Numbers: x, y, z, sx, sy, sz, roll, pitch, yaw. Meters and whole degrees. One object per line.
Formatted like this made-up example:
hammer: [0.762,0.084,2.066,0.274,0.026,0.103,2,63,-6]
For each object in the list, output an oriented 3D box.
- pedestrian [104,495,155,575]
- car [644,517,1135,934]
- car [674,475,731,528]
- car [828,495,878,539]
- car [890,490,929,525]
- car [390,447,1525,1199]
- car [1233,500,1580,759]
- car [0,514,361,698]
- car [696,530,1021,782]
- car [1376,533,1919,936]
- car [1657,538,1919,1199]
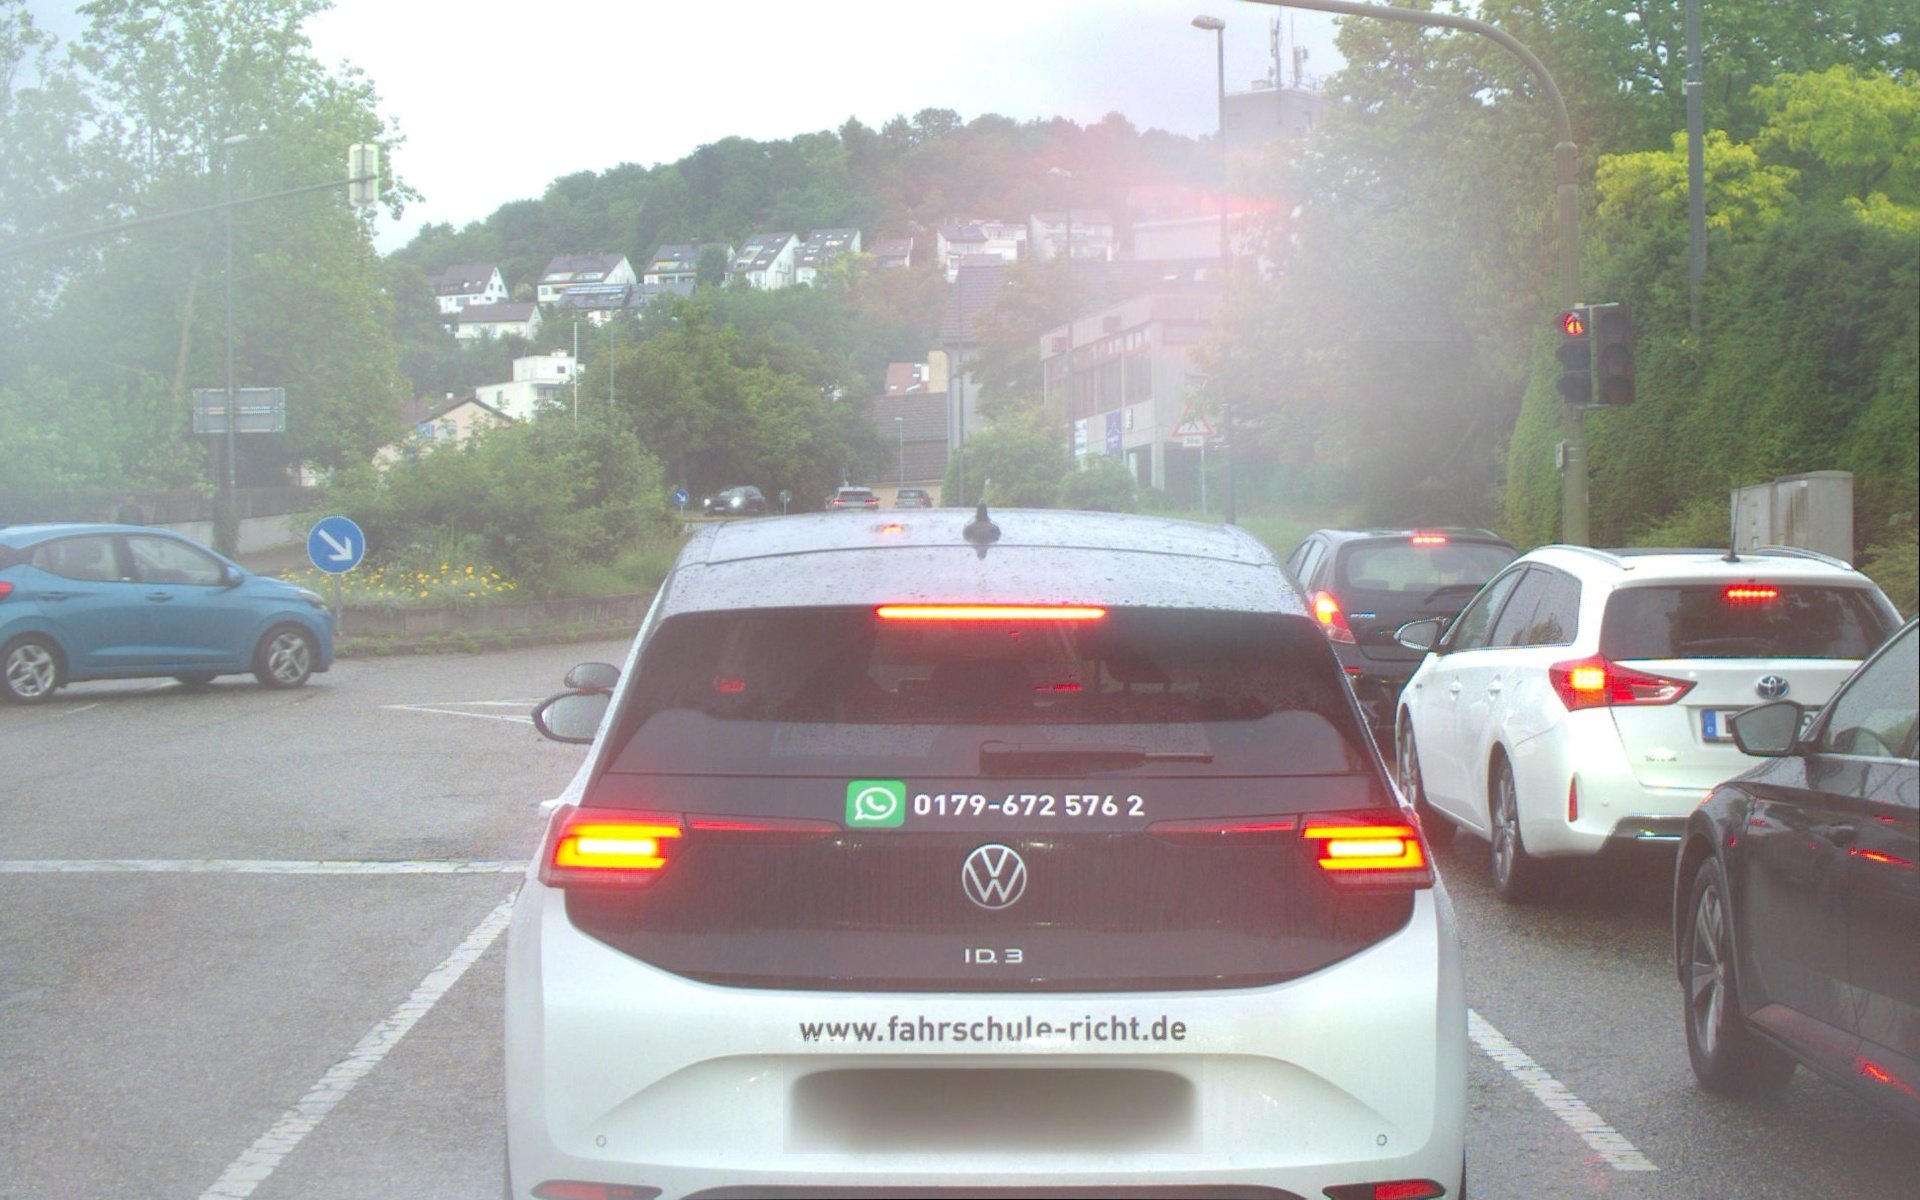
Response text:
pedestrian: [-16.457,-1.287,68.152,0.760,1.562,0.825,-3,1,-1]
car: [-0.313,0.431,15.209,1.837,1.549,4.175,1,1,-1]
car: [-10.487,-4.001,140.264,1.993,2.007,4.000,1,0,0]
car: [-4.097,-3.155,131.799,1.775,1.576,4.000,-2,1,0]
car: [-2.376,-4.374,162.762,1.775,1.576,4.000,-2,1,0]
car: [-0.056,0.523,7.954,1.837,1.623,4.616,1,1,-1]
car: [2.935,0.156,23.377,1.775,1.576,4.000,1,1,0]
car: [-7.217,0.022,29.368,3.739,1.413,1.766,-3,2,-43]
car: [-0.624,0.283,21.654,1.837,1.395,3.831,1,1,-1]
car: [3.037,0.472,14.974,1.837,1.461,4.117,1,1,-1]
car: [2.867,0.631,7.493,1.838,1.461,4.350,1,1,1]
